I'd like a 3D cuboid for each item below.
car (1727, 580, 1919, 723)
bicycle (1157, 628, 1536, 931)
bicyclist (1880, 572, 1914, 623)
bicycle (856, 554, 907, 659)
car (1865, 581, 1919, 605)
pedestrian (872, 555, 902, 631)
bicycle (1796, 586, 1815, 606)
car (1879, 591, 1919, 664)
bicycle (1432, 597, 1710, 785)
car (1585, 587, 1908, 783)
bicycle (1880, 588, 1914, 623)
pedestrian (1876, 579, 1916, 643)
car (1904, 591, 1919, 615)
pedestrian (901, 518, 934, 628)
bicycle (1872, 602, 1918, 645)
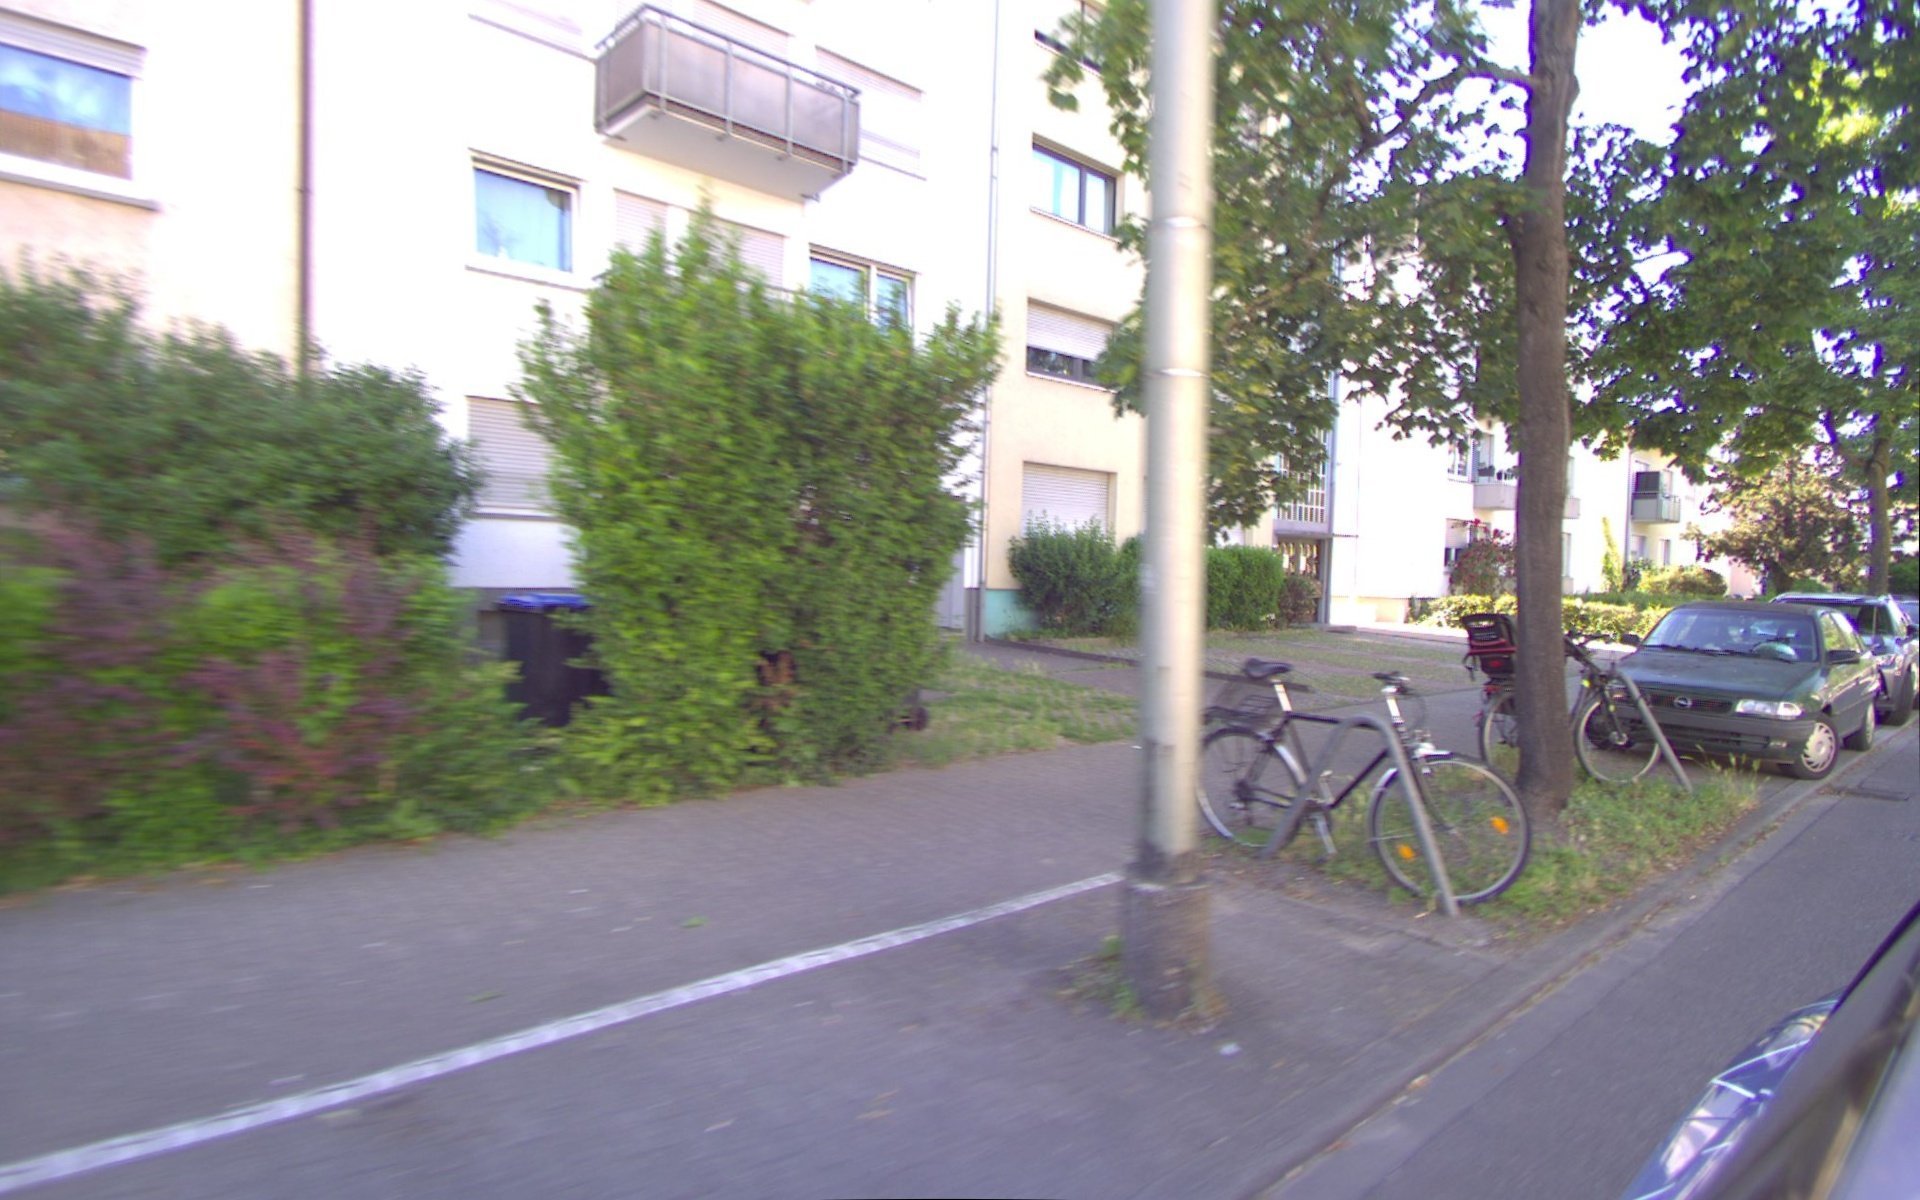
[{"bbox_3d":[11.542,0.551,13.209,4.163,1.507,1.716,0,3,-43],"label":"car"},{"bbox_3d":[1.788,0.761,4.990,0.514,1.033,1.747,-2,6,-33],"label":"bicycle"},{"bbox_3d":[34.996,-0.101,37.797,0.998,1.815,0.725,0,3,-41],"label":"bicyclist"},{"bbox_3d":[-1.057,0.053,13.362,0.454,1.237,1.544,3,4,-11],"label":"bicycle"},{"bbox_3d":[71.697,-0.495,76.989,1.799,1.458,3.998,0,6,-41],"label":"car"},{"bbox_3d":[-1.194,-0.108,16.478,0.337,1.212,0.362,-1,-1,29],"label":"pedestrian"},{"bbox_3d":[45.278,-0.225,54.175,1.713,1.004,0.456,-2,5,-42],"label":"bicycle"},{"bbox_3d":[21.182,0.583,21.650,4.074,1.445,1.696,0,3,-40],"label":"car"},{"bbox_3d":[4.455,0.639,7.470,1.641,1.252,0.470,2,1,11],"label":"bicycle"},{"bbox_3d":[7.475,0.629,9.485,3.906,1.400,1.615,0,3,-41],"label":"car"},{"bbox_3d":[35.086,0.197,37.891,1.790,1.262,0.699,0,3,-42],"label":"bicycle"},{"bbox_3d":[25.639,0.284,27.721,0.762,1.703,0.671,0,2,-41],"label":"pedestrian"},{"bbox_3d":[57.979,0.219,60.731,3.653,1.372,1.535,0,5,-42],"label":"car"},{"bbox_3d":[-0.691,-0.429,16.361,0.364,1.759,0.360,-2,-1,43],"label":"pedestrian"},{"bbox_3d":[25.552,0.616,27.655,2.090,1.083,0.683,0,3,-42],"label":"bicycle"}]
